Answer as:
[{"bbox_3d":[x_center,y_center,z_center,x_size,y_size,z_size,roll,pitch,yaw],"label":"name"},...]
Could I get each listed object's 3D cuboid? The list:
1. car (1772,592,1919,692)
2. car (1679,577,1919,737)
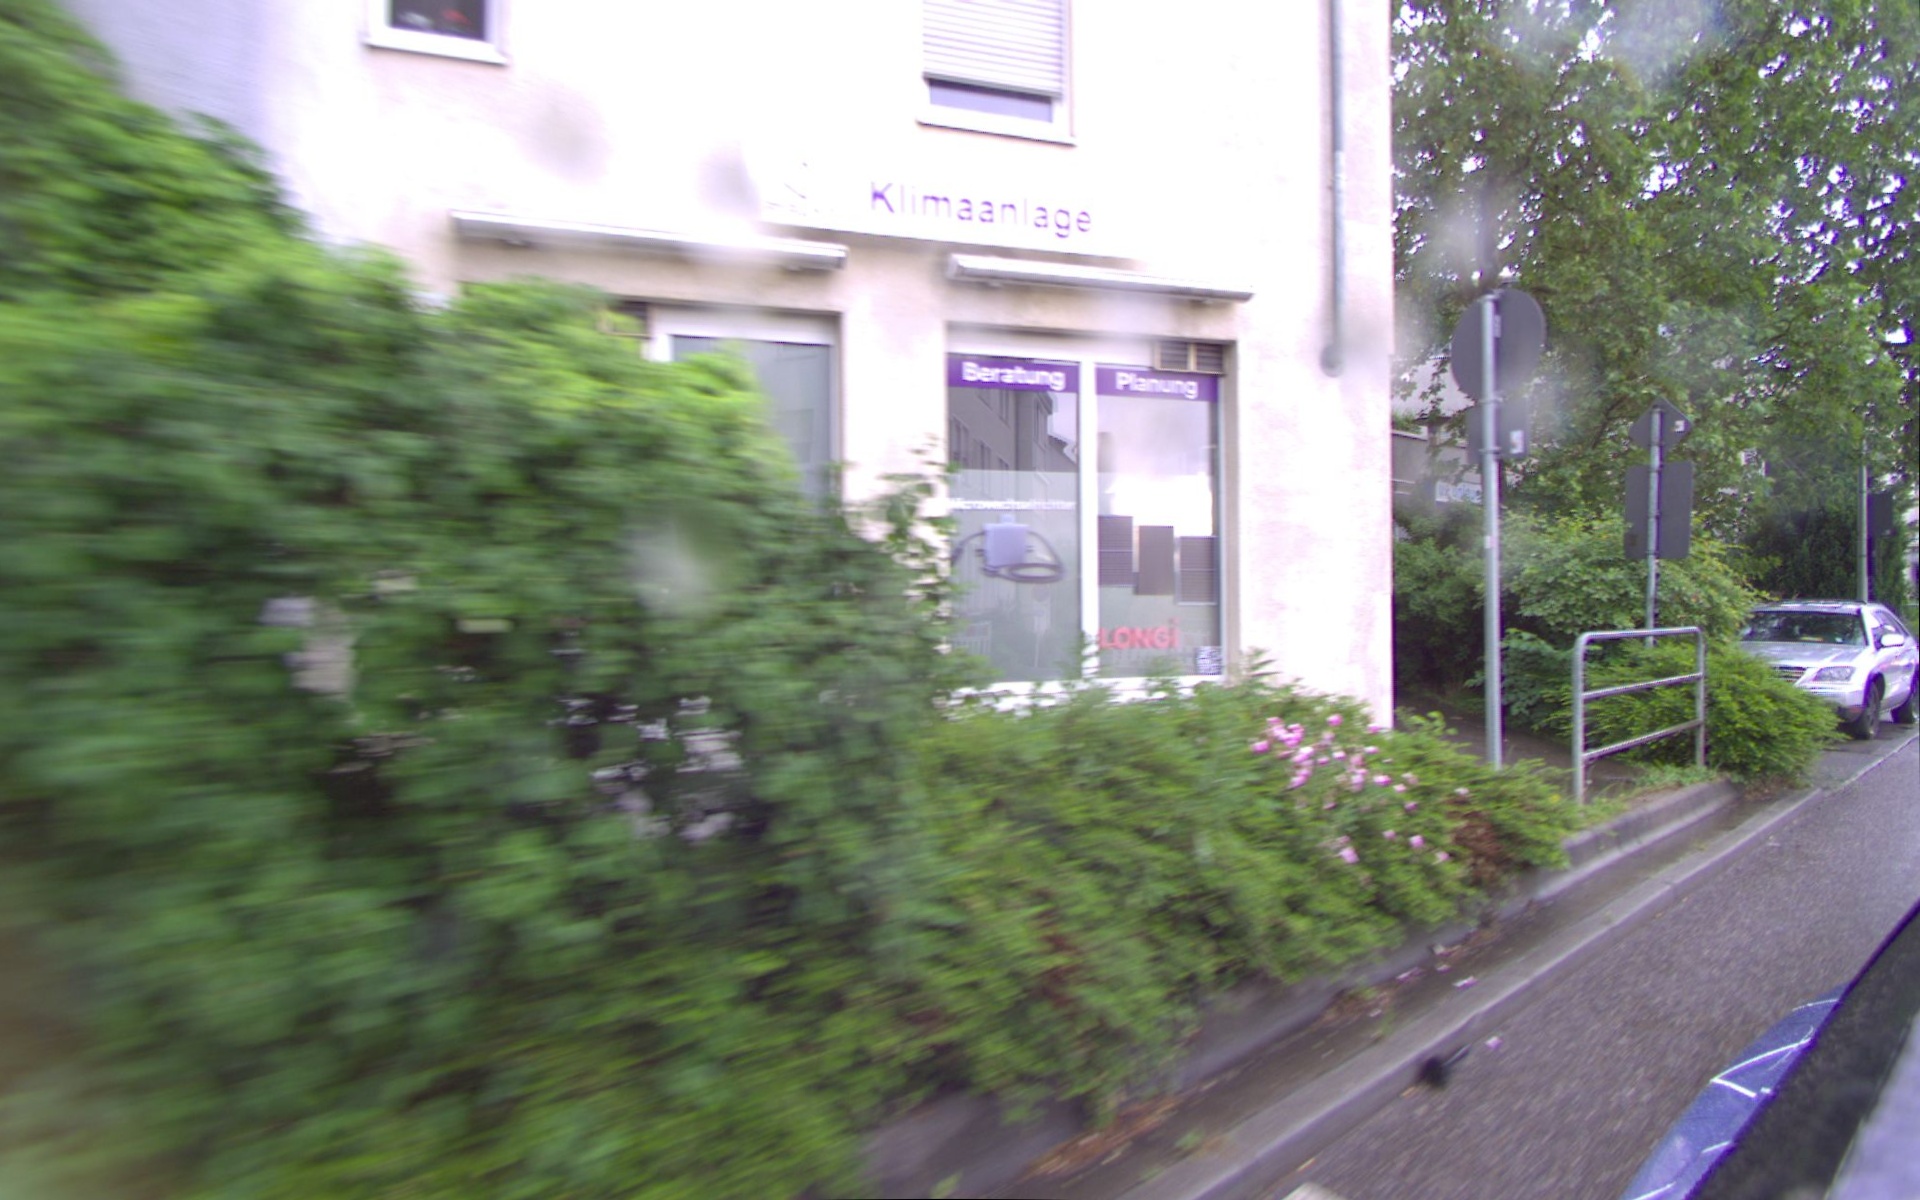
[{"bbox_3d":[16.163,0.680,18.380,3.849,1.592,1.711,0,0,-44],"label":"car"},{"bbox_3d":[11.605,0.632,13.626,4.647,1.803,1.935,0,0,-39],"label":"car"}]
